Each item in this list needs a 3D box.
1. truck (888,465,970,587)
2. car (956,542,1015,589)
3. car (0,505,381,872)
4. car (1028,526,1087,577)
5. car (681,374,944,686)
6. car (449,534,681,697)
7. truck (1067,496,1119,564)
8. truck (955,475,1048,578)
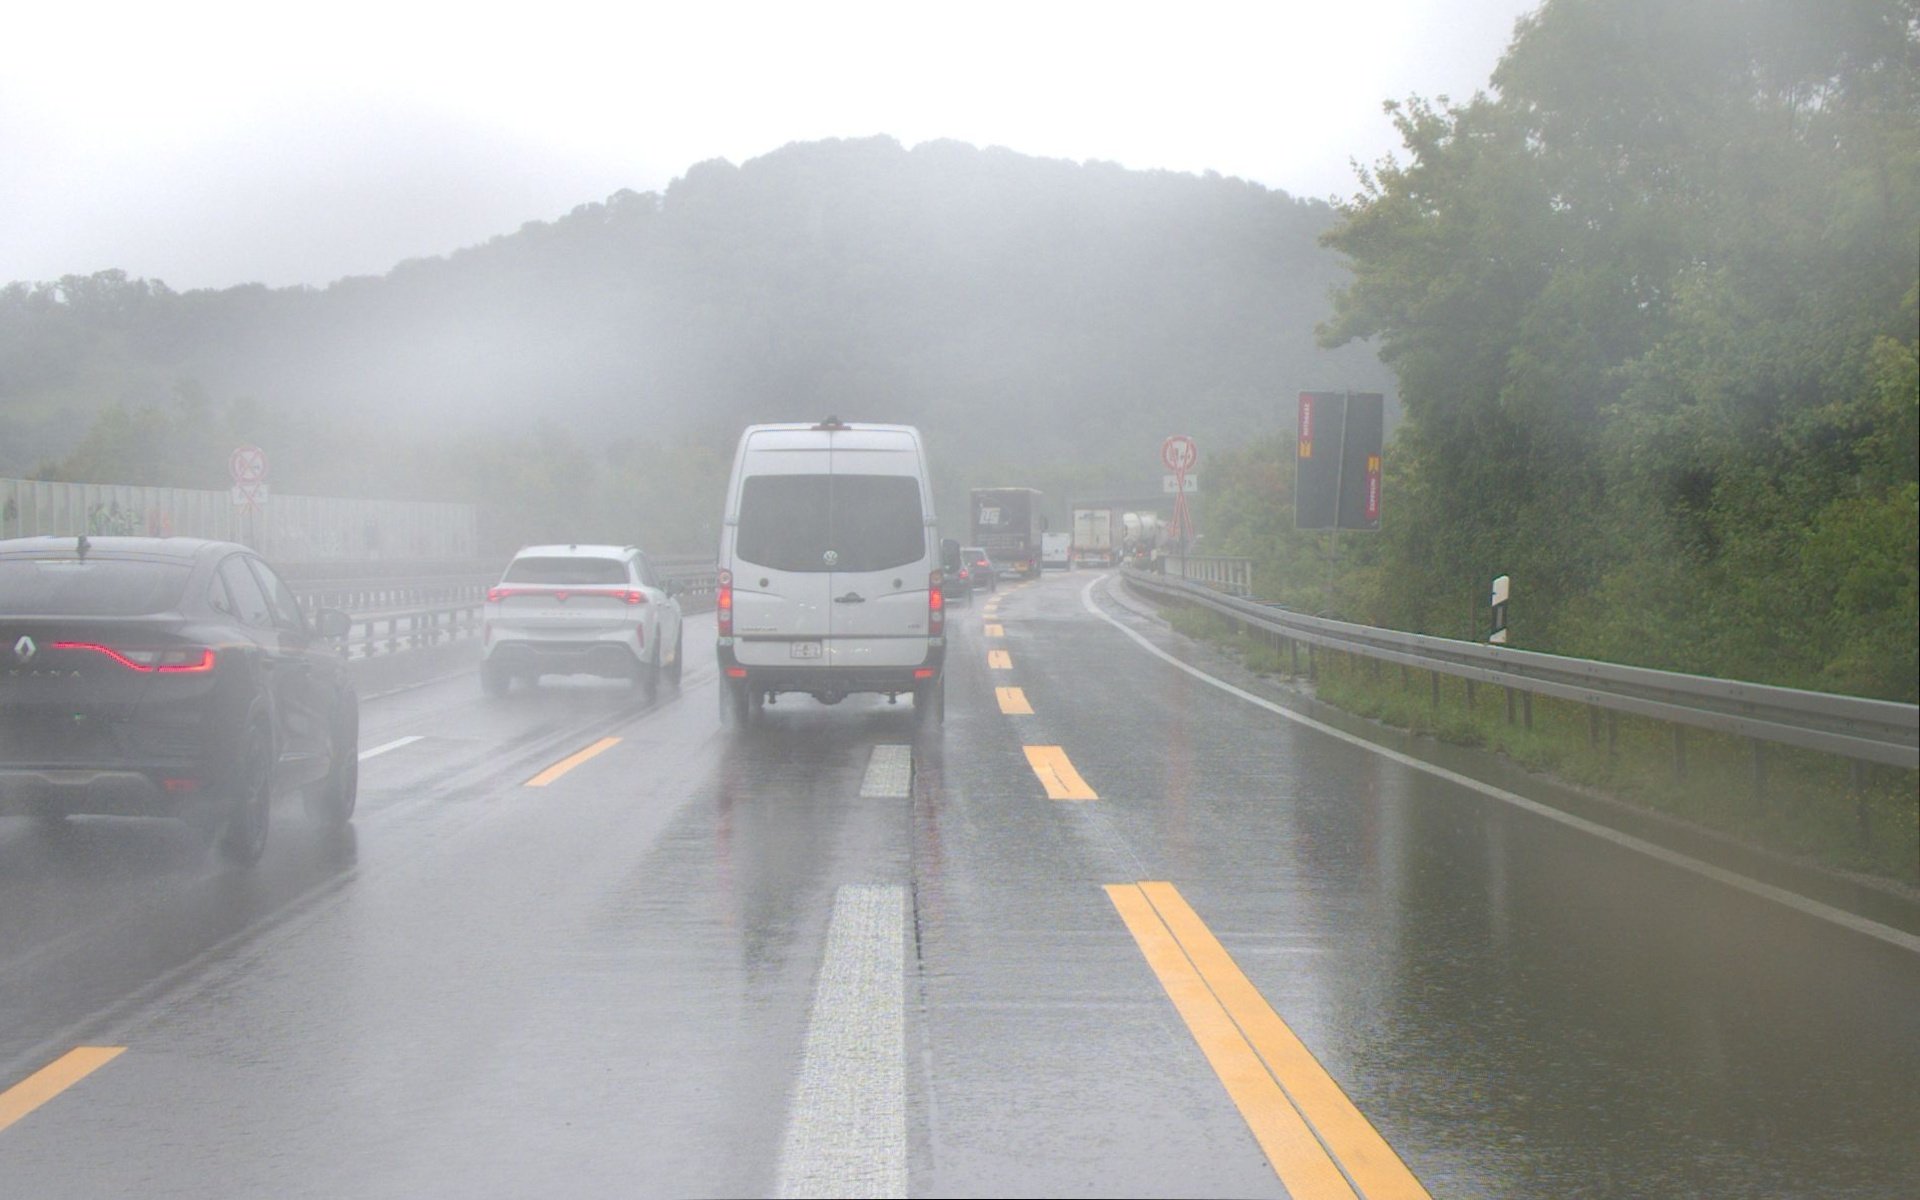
[{"bbox_3d":[-0.779,-1.935,92.230,1.993,3.098,8.499,1,1,0],"label":"truck"},{"bbox_3d":[0.843,-1.120,111.641,1.774,1.470,4.000,1,1,2],"label":"car"},{"bbox_3d":[-4.250,0.356,17.162,1.993,1.579,4.414,1,1,-1],"label":"car"},{"bbox_3d":[5.677,-2.782,198.603,2.899,2.877,6.410,1,1,6],"label":"car"},{"bbox_3d":[-1.317,-0.608,31.291,2.145,2.562,5.390,1,1,-2],"label":"car"},{"bbox_3d":[-4.198,0.135,37.258,1.993,1.612,4.796,1,1,-1],"label":"car"},{"bbox_3d":[9.022,-4.683,232.394,3.036,4.391,9.622,1,1,5],"label":"truck"},{"bbox_3d":[1.905,-3.191,152.082,3.582,4.391,9.623,1,1,3],"label":"truck"}]
